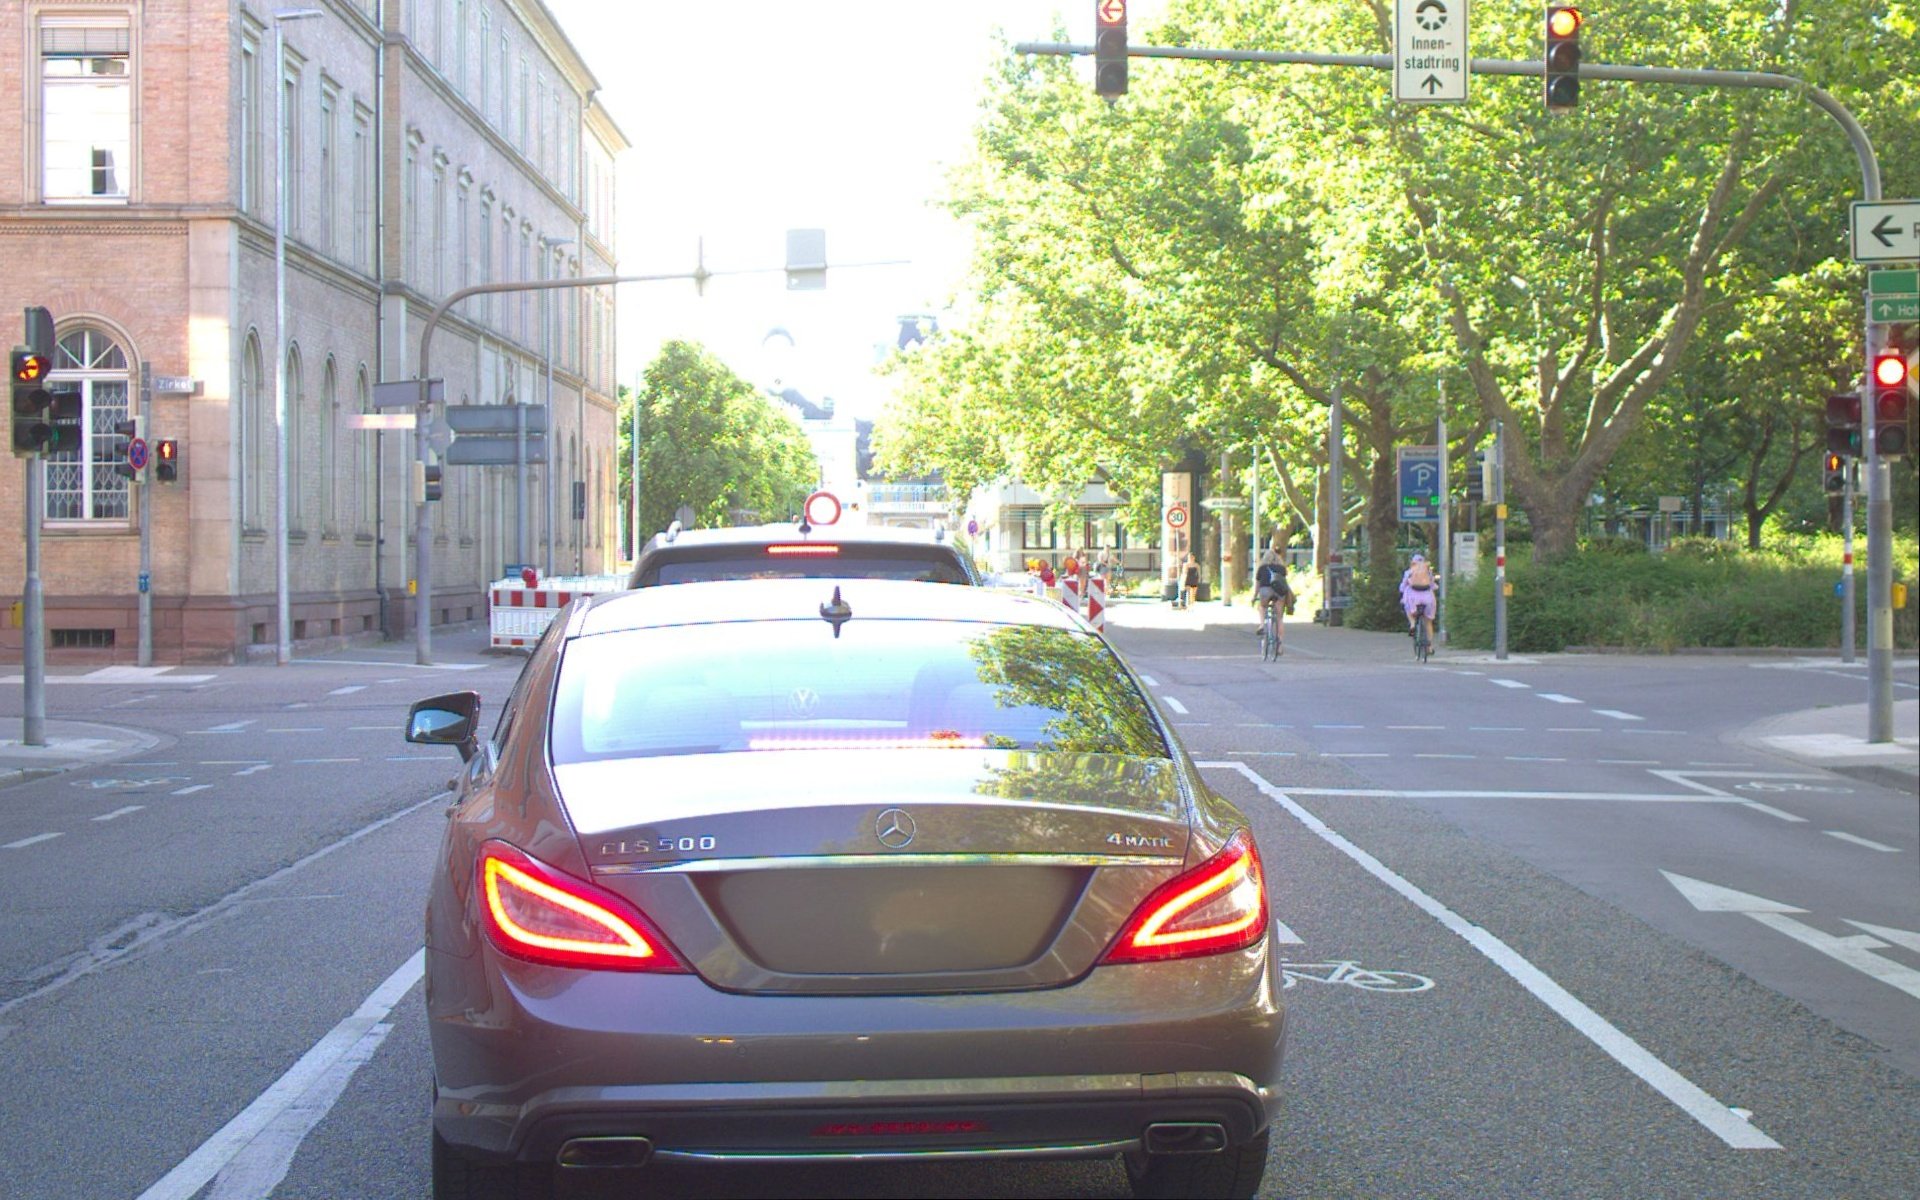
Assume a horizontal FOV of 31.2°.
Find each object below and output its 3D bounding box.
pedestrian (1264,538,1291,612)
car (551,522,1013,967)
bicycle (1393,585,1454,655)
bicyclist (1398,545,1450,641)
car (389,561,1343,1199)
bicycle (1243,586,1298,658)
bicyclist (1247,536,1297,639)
[{"bbox_3d":[7.247,-0.571,78.470,0.559,1.672,0.564,0,1,-1],"label":"pedestrian"},{"bbox_3d":[-0.712,0.503,14.458,1.681,1.619,3.841,0,1,-2],"label":"car"},{"bbox_3d":[6.903,0.292,51.236,0.600,0.981,1.881,2,1,-1],"label":"bicycle"},{"bbox_3d":[6.909,-0.108,51.204,0.600,1.397,0.931,2,1,-1],"label":"bicyclist"},{"bbox_3d":[-0.444,0.641,8.693,1.821,1.471,4.354,0,1,-7],"label":"car"},{"bbox_3d":[4.640,0.315,51.493,0.610,1.023,1.731,2,1,-1],"label":"bicycle"},{"bbox_3d":[4.657,-0.187,51.365,0.610,1.511,0.890,2,1,-1],"label":"bicyclist"}]
